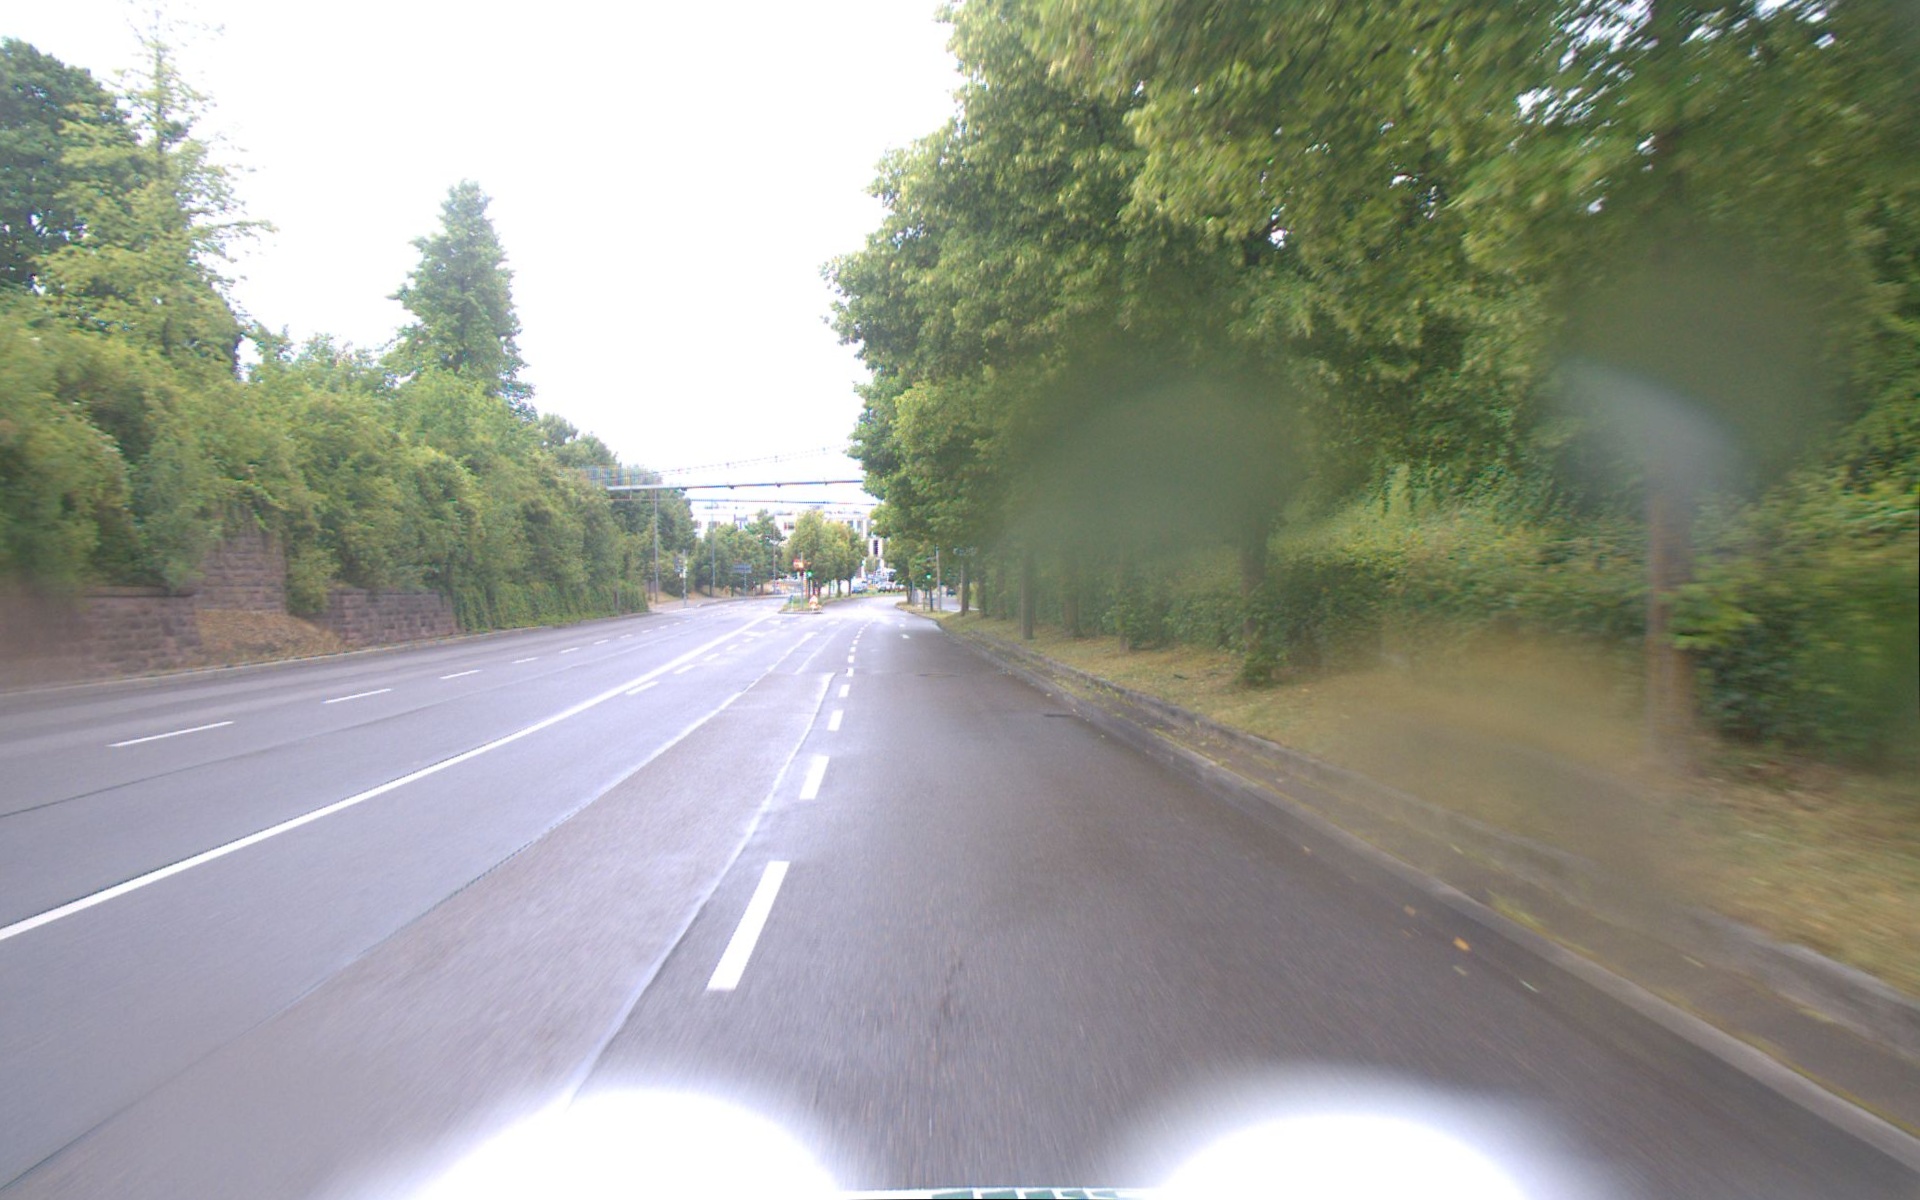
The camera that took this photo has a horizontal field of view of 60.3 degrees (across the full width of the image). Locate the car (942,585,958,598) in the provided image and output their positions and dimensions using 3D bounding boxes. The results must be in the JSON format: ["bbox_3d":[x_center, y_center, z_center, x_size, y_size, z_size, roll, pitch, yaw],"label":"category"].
[{"bbox_3d":[-1.381,-1.195,234.660,1.810,1.731,3.795,1,-1,6],"label":"car"}]
